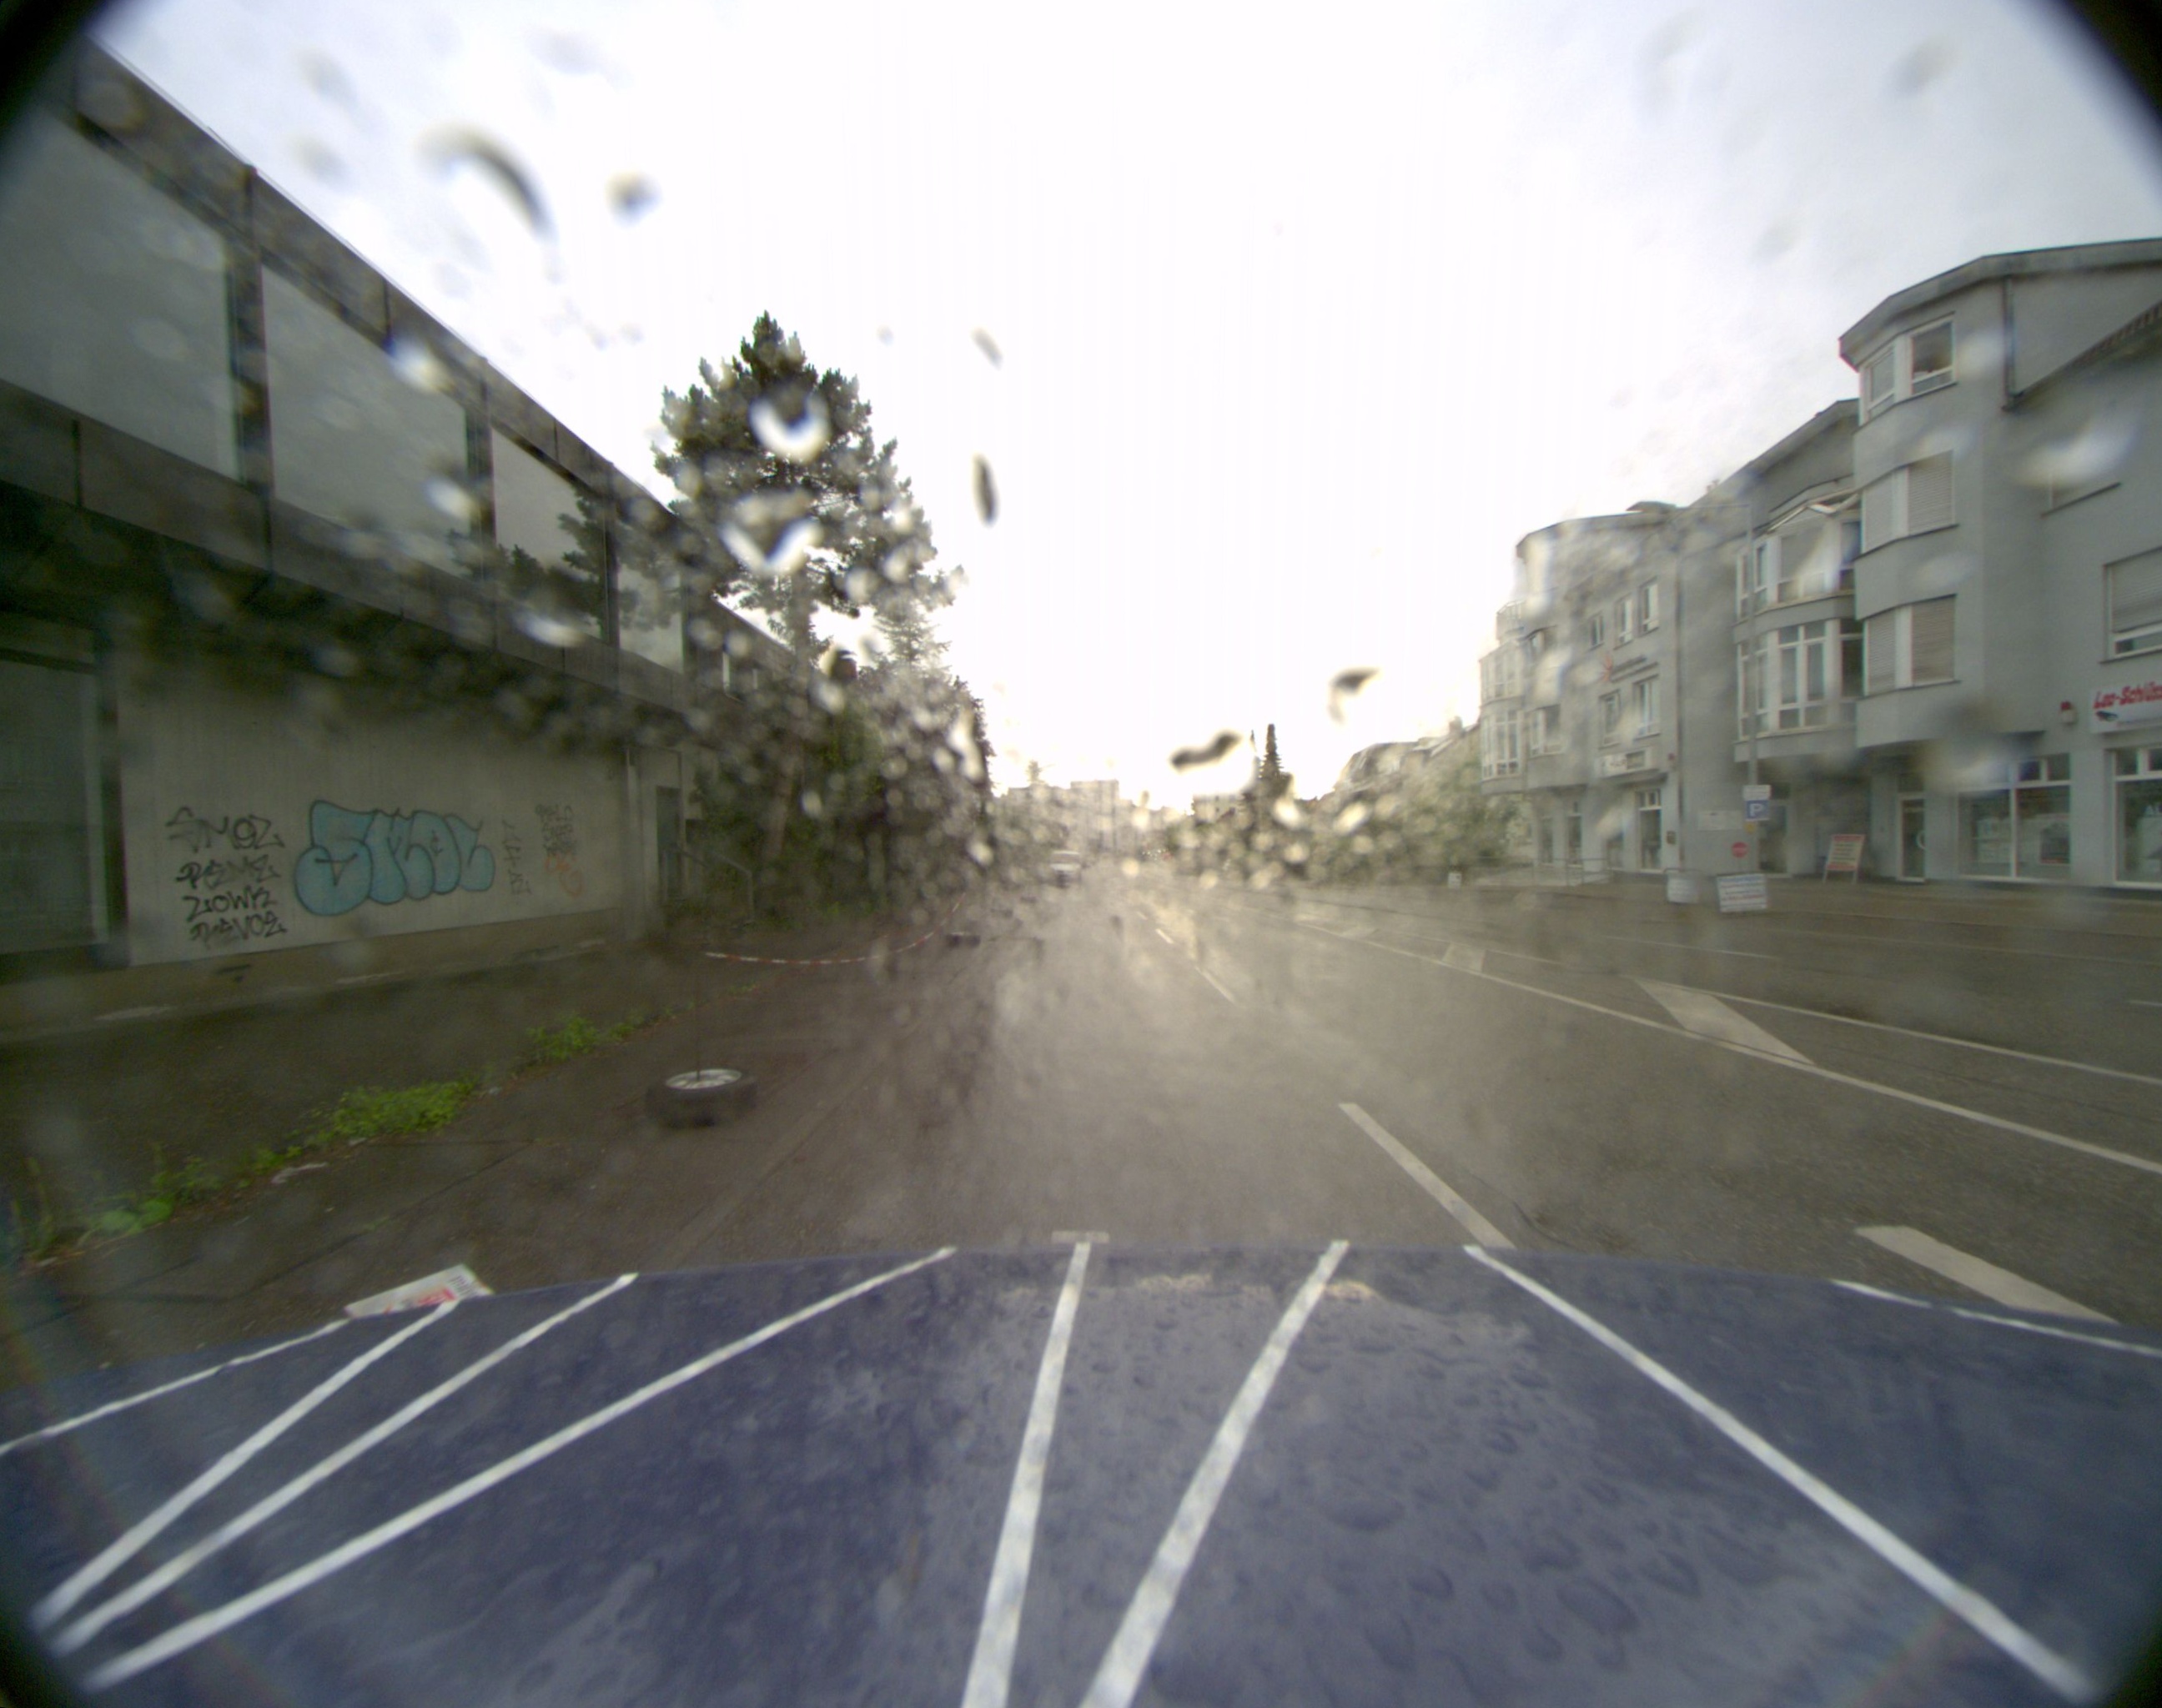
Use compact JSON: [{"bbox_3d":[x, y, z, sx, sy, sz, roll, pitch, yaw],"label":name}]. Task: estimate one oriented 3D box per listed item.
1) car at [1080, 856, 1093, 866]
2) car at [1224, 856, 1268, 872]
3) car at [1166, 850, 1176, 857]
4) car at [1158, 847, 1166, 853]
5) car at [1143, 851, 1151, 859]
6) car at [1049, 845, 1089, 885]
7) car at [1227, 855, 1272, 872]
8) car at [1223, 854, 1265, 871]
[{"bbox_3d":[0.892,1.178,130.732,1.912,1.622,3.703,-1,0,5],"label":"car"},{"bbox_3d":[16.700,0.964,77.026,4.155,1.434,1.891,-3,0,7],"label":"car"},{"bbox_3d":[20.927,-0.176,177.505,1.997,1.606,4.003,-1,0,11],"label":"car"},{"bbox_3d":[22.668,-1.161,211.423,1.850,1.753,4.124,-1,0,10],"label":"car"},{"bbox_3d":[15.808,0.331,181.127,1.851,1.870,4.122,-1,0,5],"label":"car"},{"bbox_3d":[-0.701,0.671,48.308,2.397,2.417,6.433,0,0,0],"label":"car"},{"bbox_3d":[16.485,0.942,74.541,4.034,1.433,1.813,-3,0,6],"label":"car"},{"bbox_3d":[17.090,0.901,79.741,4.114,1.536,2.001,-3,0,6],"label":"car"}]
